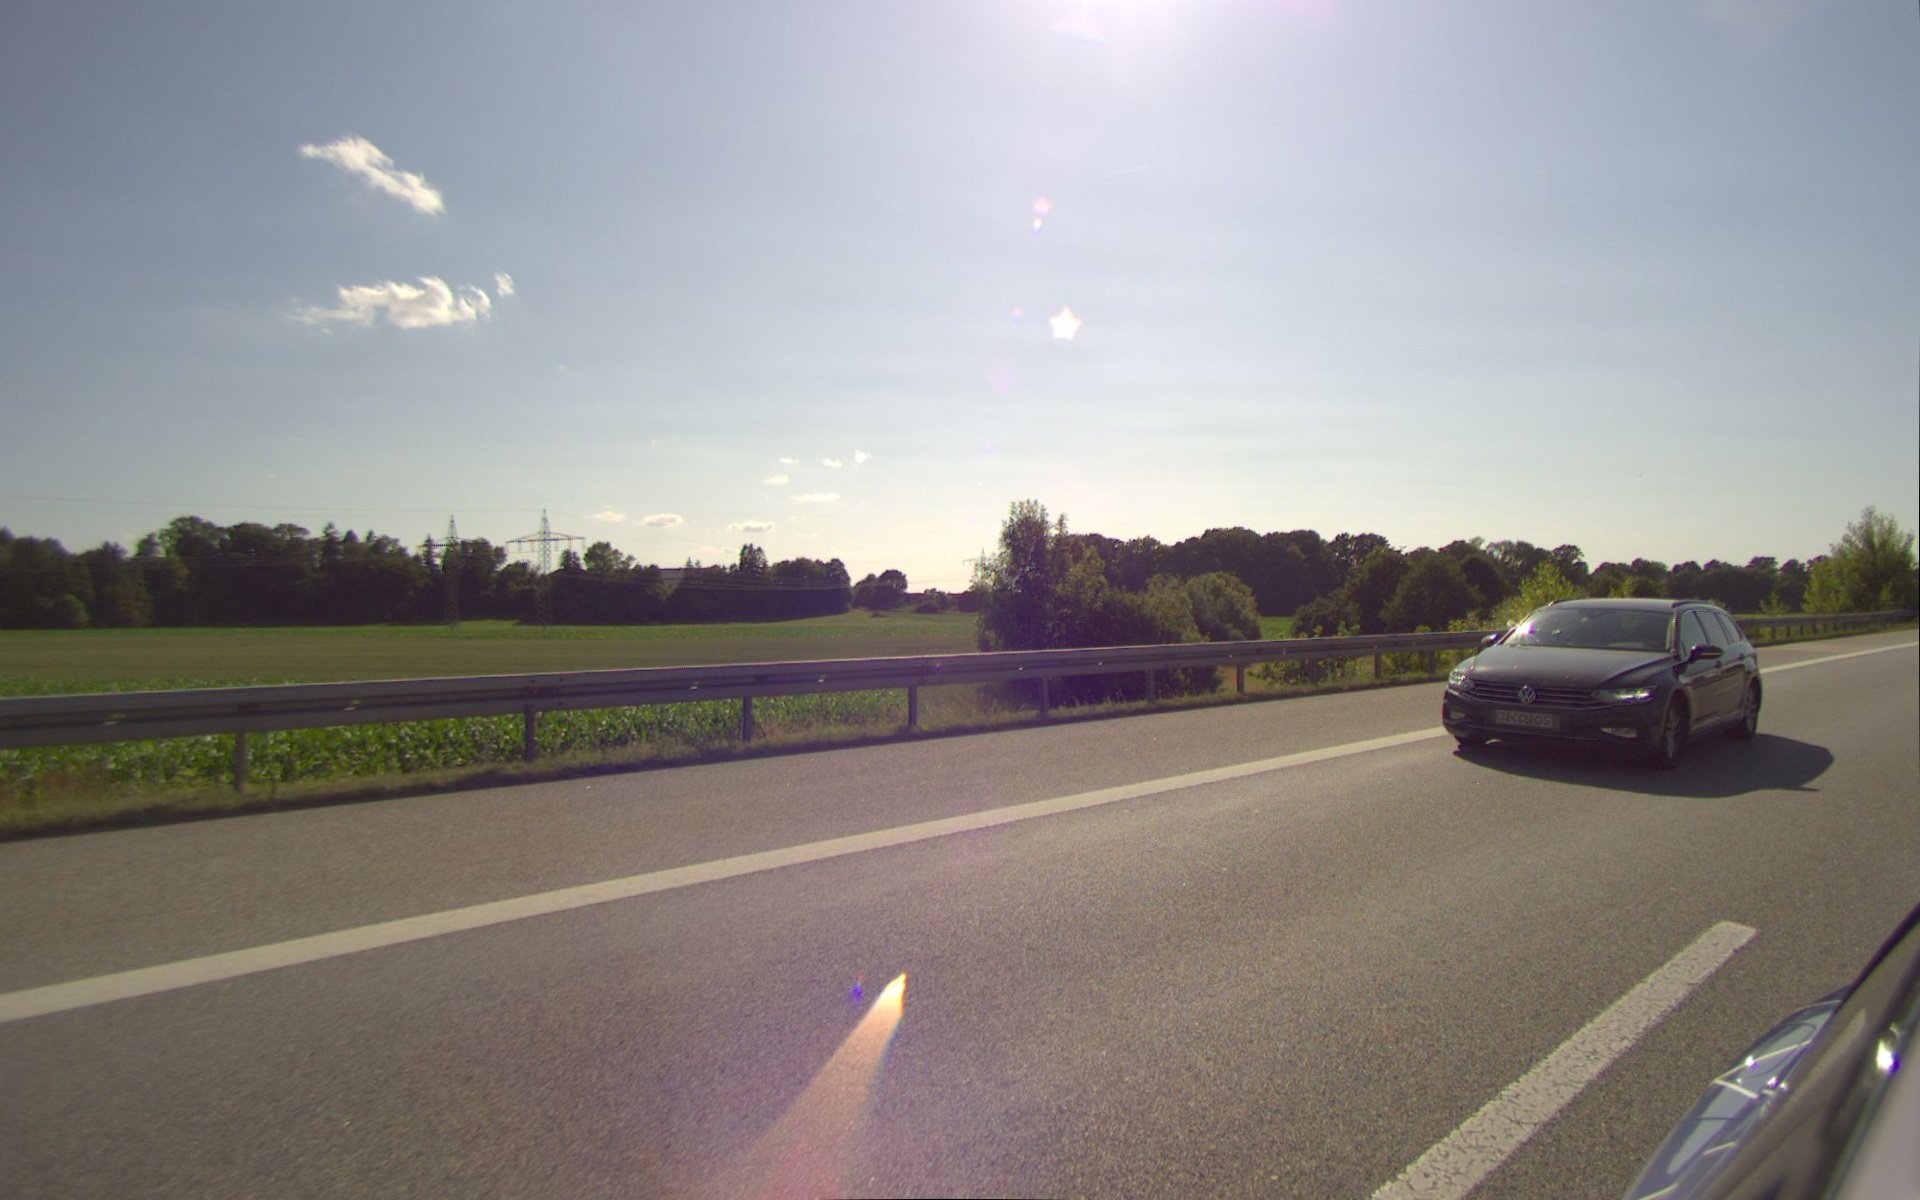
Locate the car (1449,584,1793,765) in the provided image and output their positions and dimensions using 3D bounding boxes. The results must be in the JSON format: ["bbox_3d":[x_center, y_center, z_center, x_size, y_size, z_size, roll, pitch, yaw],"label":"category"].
[{"bbox_3d":[6.742,0.562,10.127,4.336,1.417,1.722,-1,1,-40],"label":"car"}]
